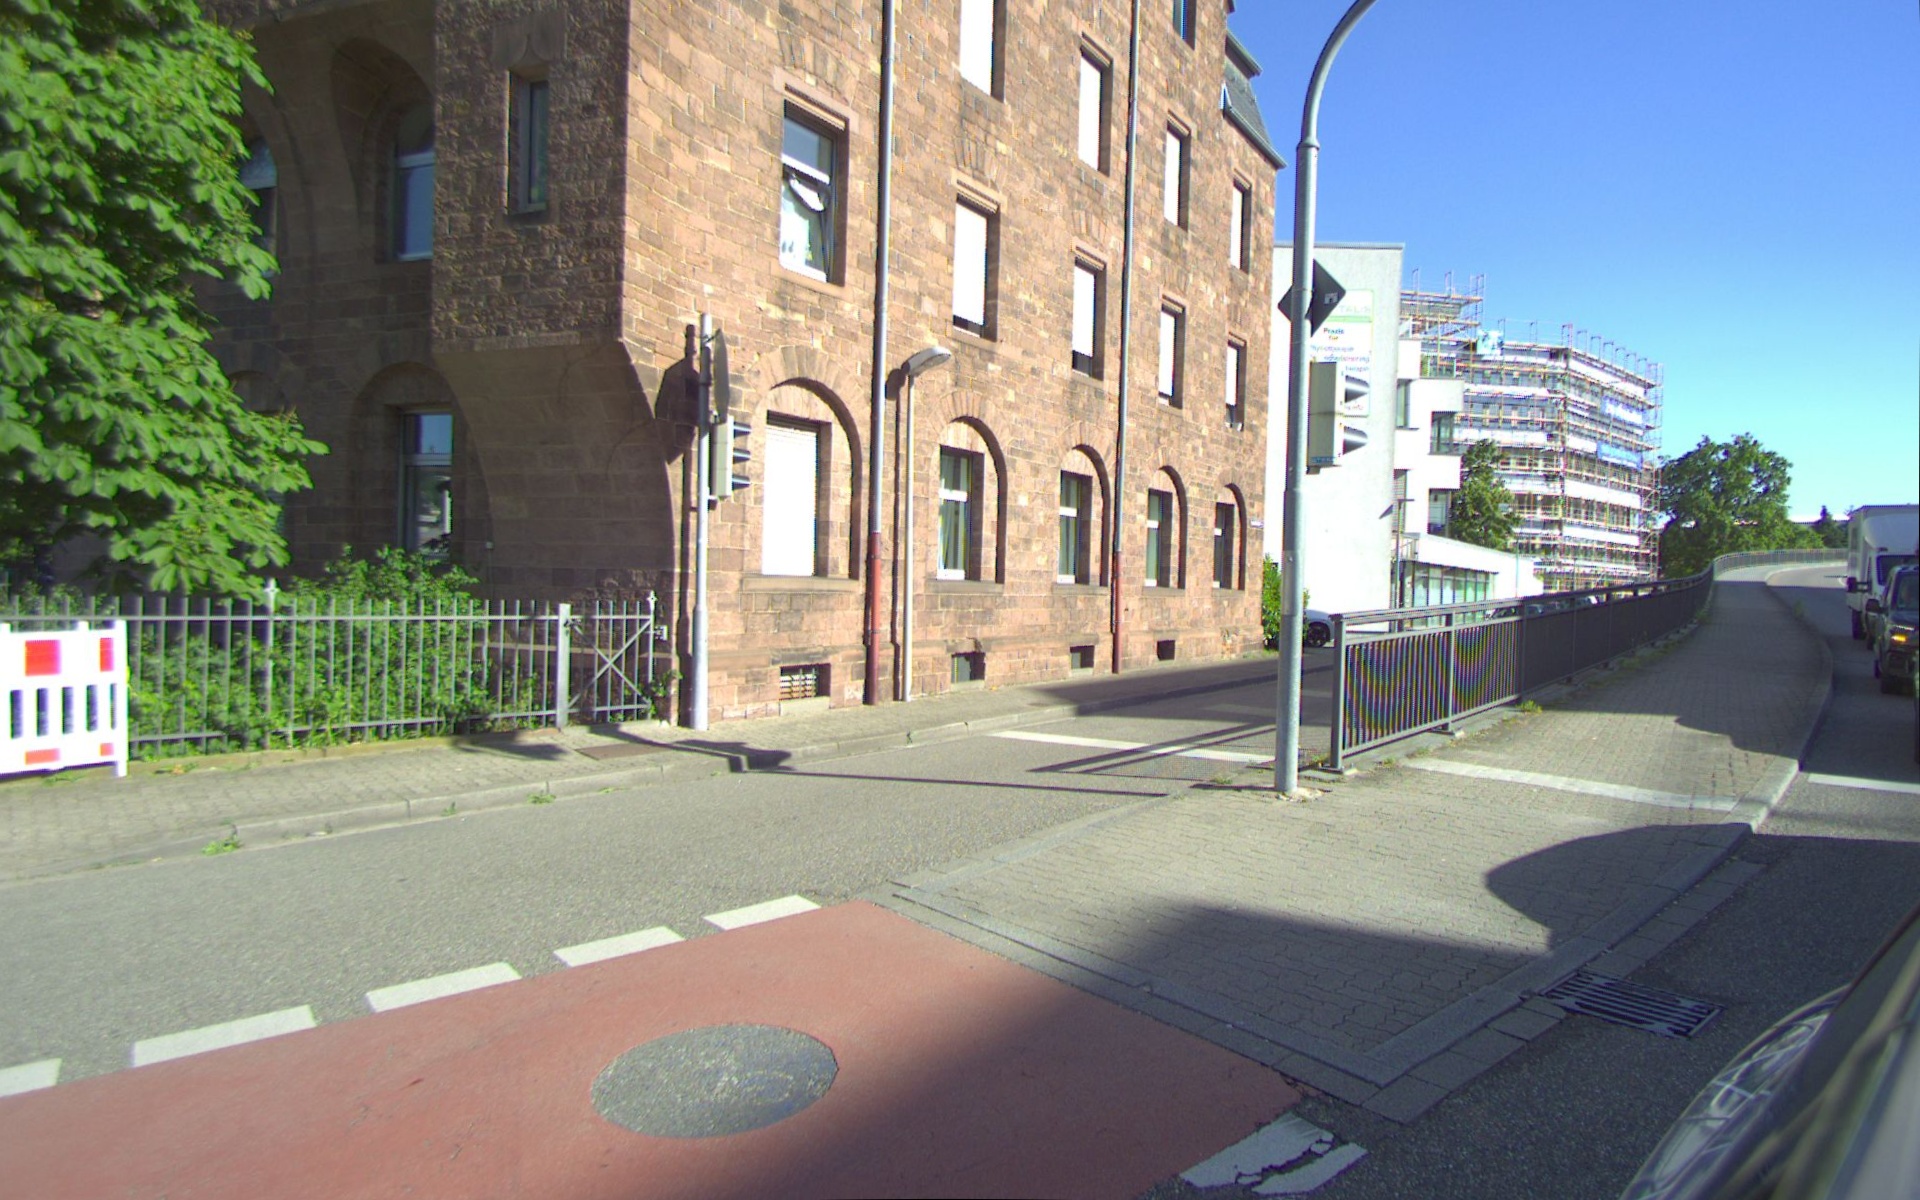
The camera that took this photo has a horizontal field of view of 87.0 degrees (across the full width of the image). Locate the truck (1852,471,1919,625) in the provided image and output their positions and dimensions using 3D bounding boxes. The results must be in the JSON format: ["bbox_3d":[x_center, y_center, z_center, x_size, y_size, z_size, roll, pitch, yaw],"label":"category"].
[{"bbox_3d":[22.225,-1.037,23.207,2.494,3.167,6.856,2,1,41],"label":"truck"}]

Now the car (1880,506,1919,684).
[{"bbox_3d":[14.386,-0.026,14.327,1.945,2.290,4.711,2,1,42],"label":"car"}]

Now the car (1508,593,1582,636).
[{"bbox_3d":[22.690,0.541,39.189,2.042,1.551,4.038,2,1,36],"label":"car"}]

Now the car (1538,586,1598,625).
[{"bbox_3d":[28.512,0.250,47.397,2.042,1.707,4.038,2,1,36],"label":"car"}]

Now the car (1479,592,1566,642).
[{"bbox_3d":[19.186,0.549,34.460,2.043,1.551,4.037,2,1,37],"label":"car"}]

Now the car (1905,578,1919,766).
[{"bbox_3d":[9.796,0.582,9.070,1.874,1.489,4.563,2,2,43],"label":"car"}]

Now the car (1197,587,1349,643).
[{"bbox_3d":[9.435,0.430,30.758,4.020,1.551,1.917,1,0,5],"label":"car"}]
